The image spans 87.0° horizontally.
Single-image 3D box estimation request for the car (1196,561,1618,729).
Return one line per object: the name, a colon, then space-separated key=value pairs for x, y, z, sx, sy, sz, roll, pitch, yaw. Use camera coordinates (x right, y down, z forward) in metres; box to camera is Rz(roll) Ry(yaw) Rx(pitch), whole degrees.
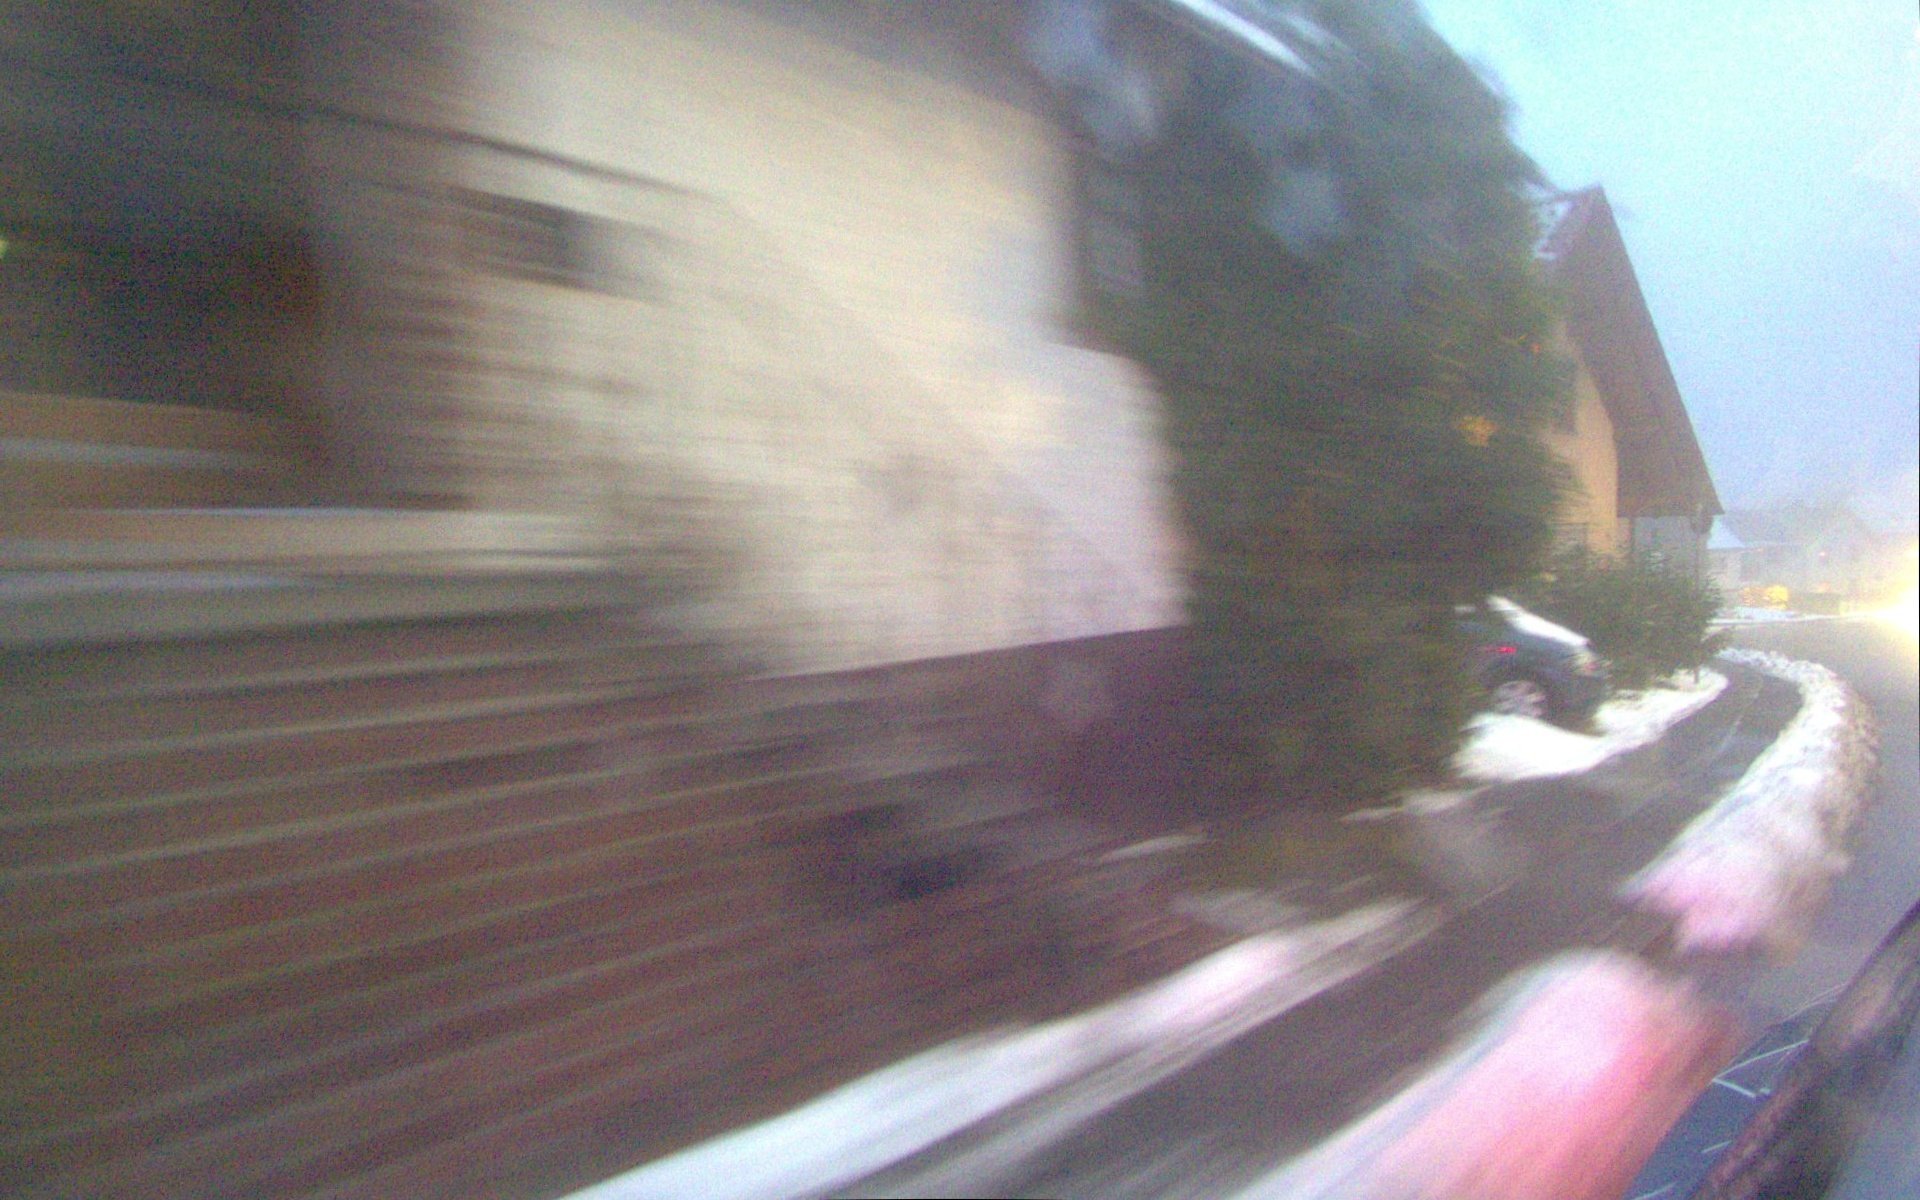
car: x=4.859 y=0.439 z=11.236 sx=3.967 sy=1.556 sz=1.978 roll=-1 pitch=-1 yaw=31
